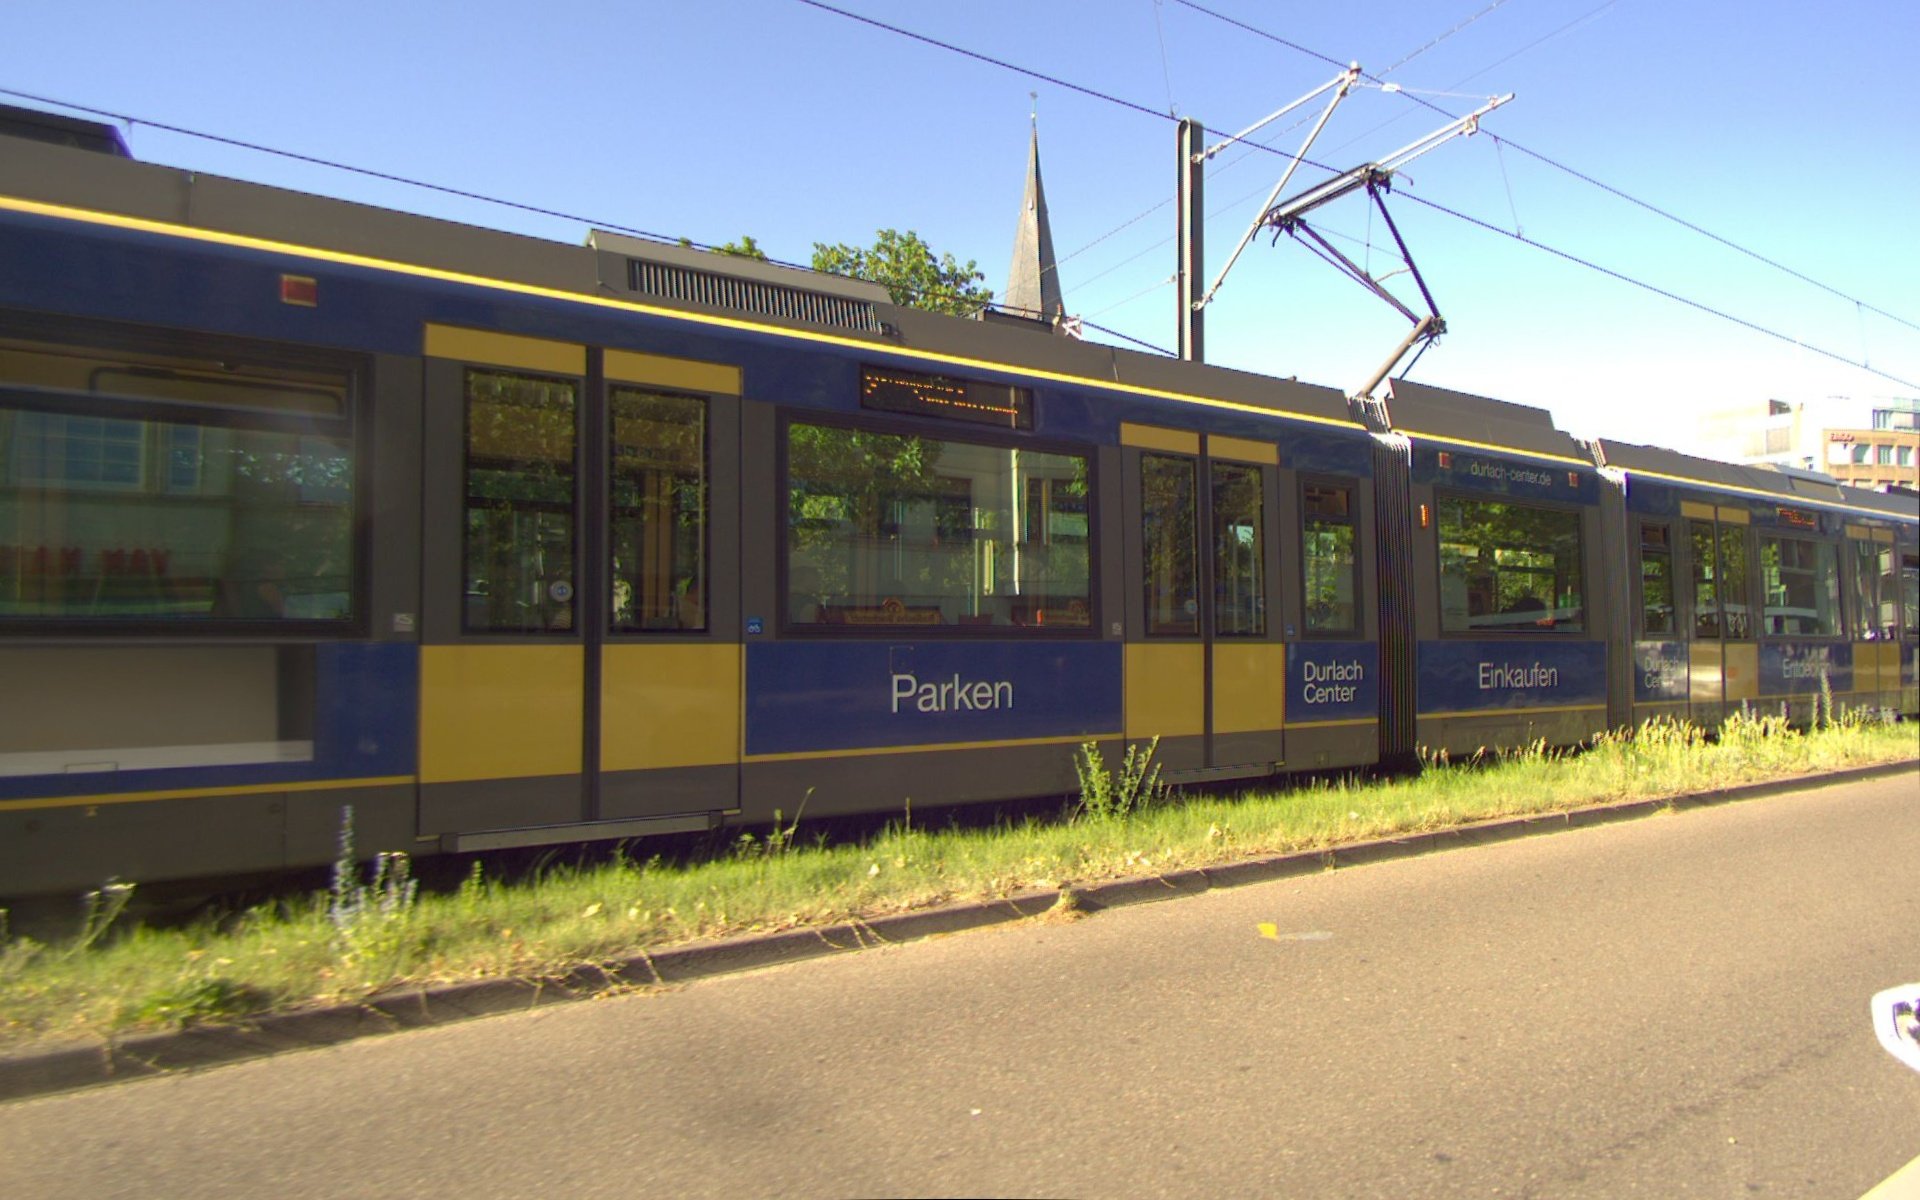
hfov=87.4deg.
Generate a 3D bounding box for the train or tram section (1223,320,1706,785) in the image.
[{"bbox_3d":[5.332,-0.369,10.777,3.820,3.949,2.941,2,0,-30],"label":"train or tram section"}]

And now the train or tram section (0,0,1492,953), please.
[{"bbox_3d":[-2.275,-0.581,6.175,14.110,3.863,2.913,2,0,-31],"label":"train or tram section"}]

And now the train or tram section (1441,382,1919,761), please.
[{"bbox_3d":[11.620,-0.174,14.428,10.675,3.949,2.938,2,0,-30],"label":"train or tram section"}]
